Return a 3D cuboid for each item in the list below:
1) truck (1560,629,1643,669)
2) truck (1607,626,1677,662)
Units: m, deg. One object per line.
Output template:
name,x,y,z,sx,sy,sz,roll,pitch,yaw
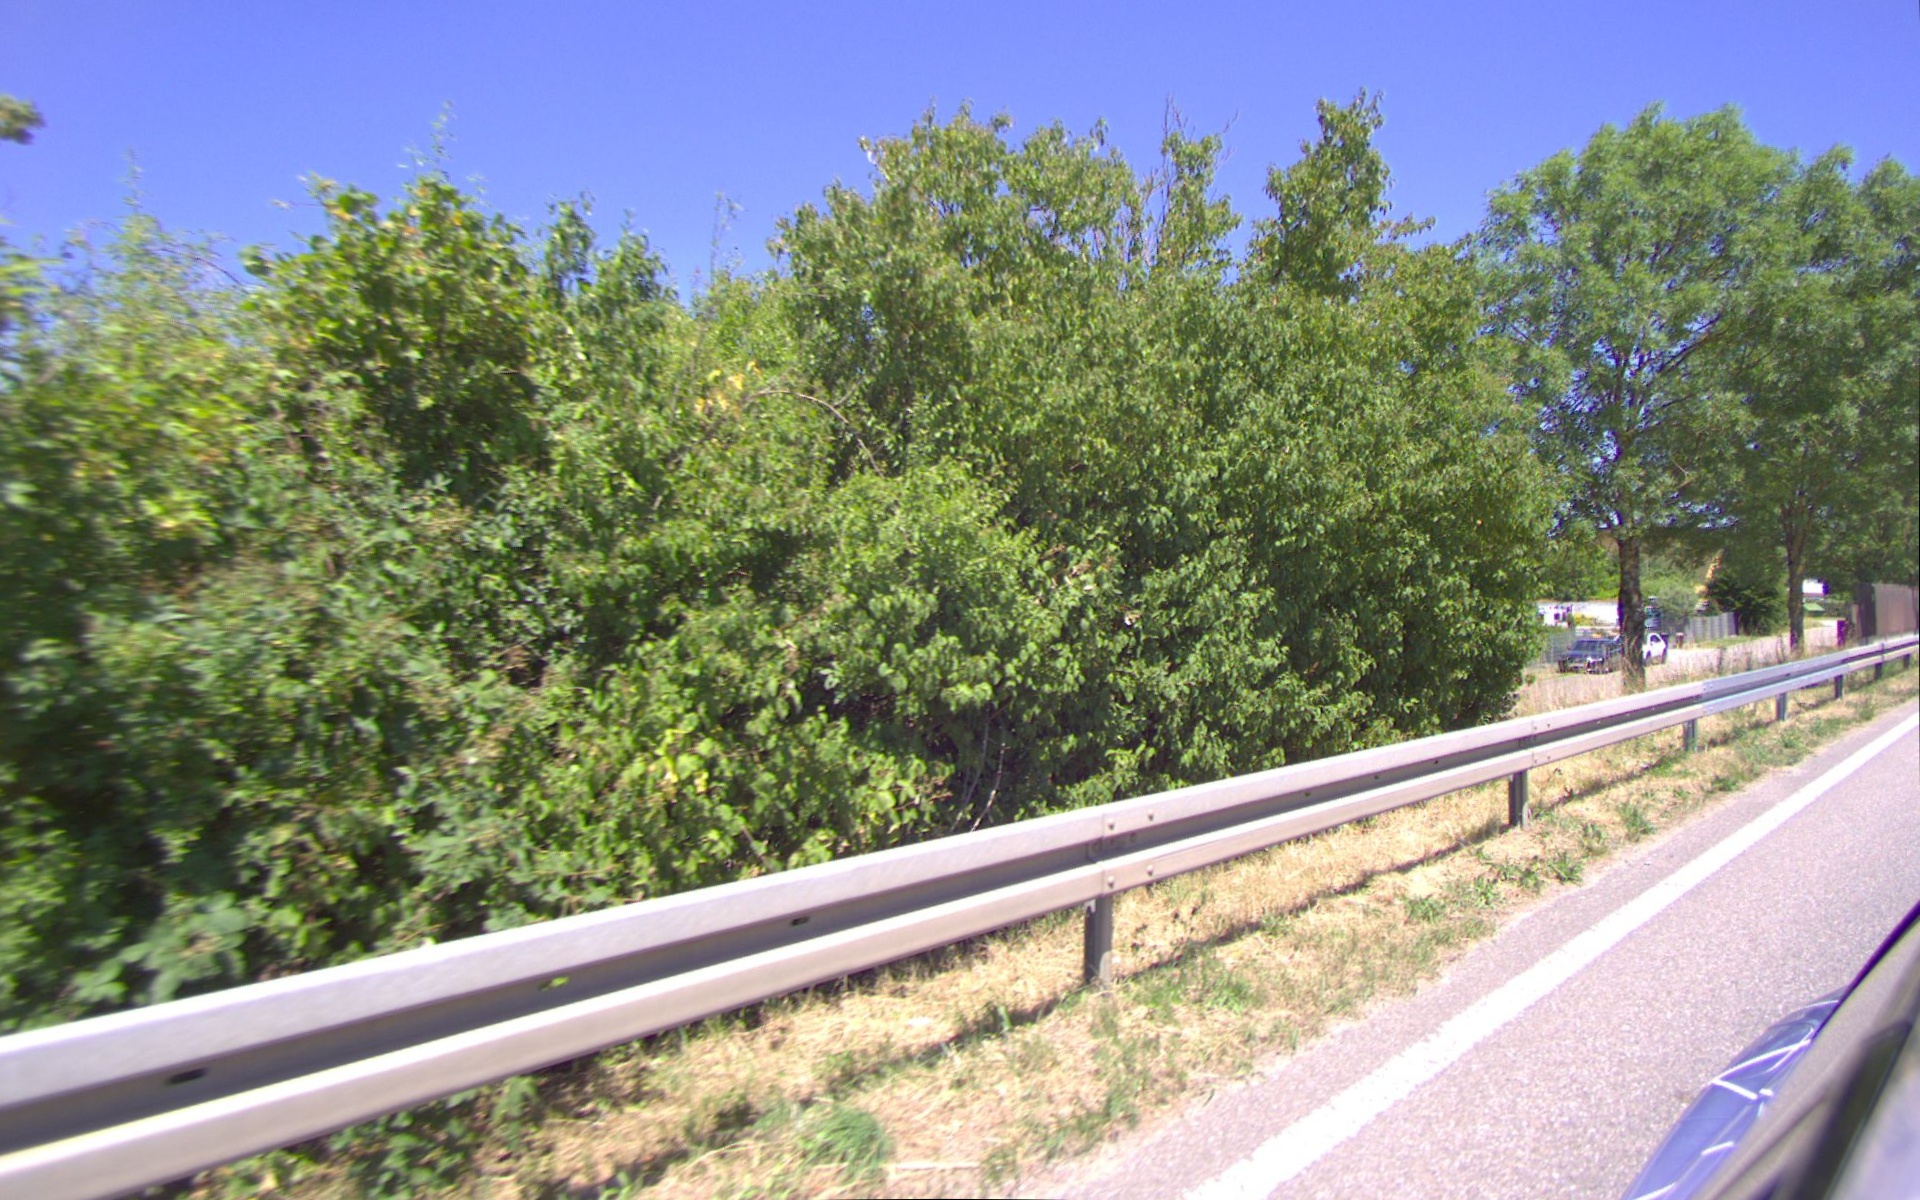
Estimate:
truck,29.481,2.195,46.469,4.817,1.591,1.886,0,1,-41
truck,34.002,2.148,50.425,3.930,1.563,1.894,0,1,-41
